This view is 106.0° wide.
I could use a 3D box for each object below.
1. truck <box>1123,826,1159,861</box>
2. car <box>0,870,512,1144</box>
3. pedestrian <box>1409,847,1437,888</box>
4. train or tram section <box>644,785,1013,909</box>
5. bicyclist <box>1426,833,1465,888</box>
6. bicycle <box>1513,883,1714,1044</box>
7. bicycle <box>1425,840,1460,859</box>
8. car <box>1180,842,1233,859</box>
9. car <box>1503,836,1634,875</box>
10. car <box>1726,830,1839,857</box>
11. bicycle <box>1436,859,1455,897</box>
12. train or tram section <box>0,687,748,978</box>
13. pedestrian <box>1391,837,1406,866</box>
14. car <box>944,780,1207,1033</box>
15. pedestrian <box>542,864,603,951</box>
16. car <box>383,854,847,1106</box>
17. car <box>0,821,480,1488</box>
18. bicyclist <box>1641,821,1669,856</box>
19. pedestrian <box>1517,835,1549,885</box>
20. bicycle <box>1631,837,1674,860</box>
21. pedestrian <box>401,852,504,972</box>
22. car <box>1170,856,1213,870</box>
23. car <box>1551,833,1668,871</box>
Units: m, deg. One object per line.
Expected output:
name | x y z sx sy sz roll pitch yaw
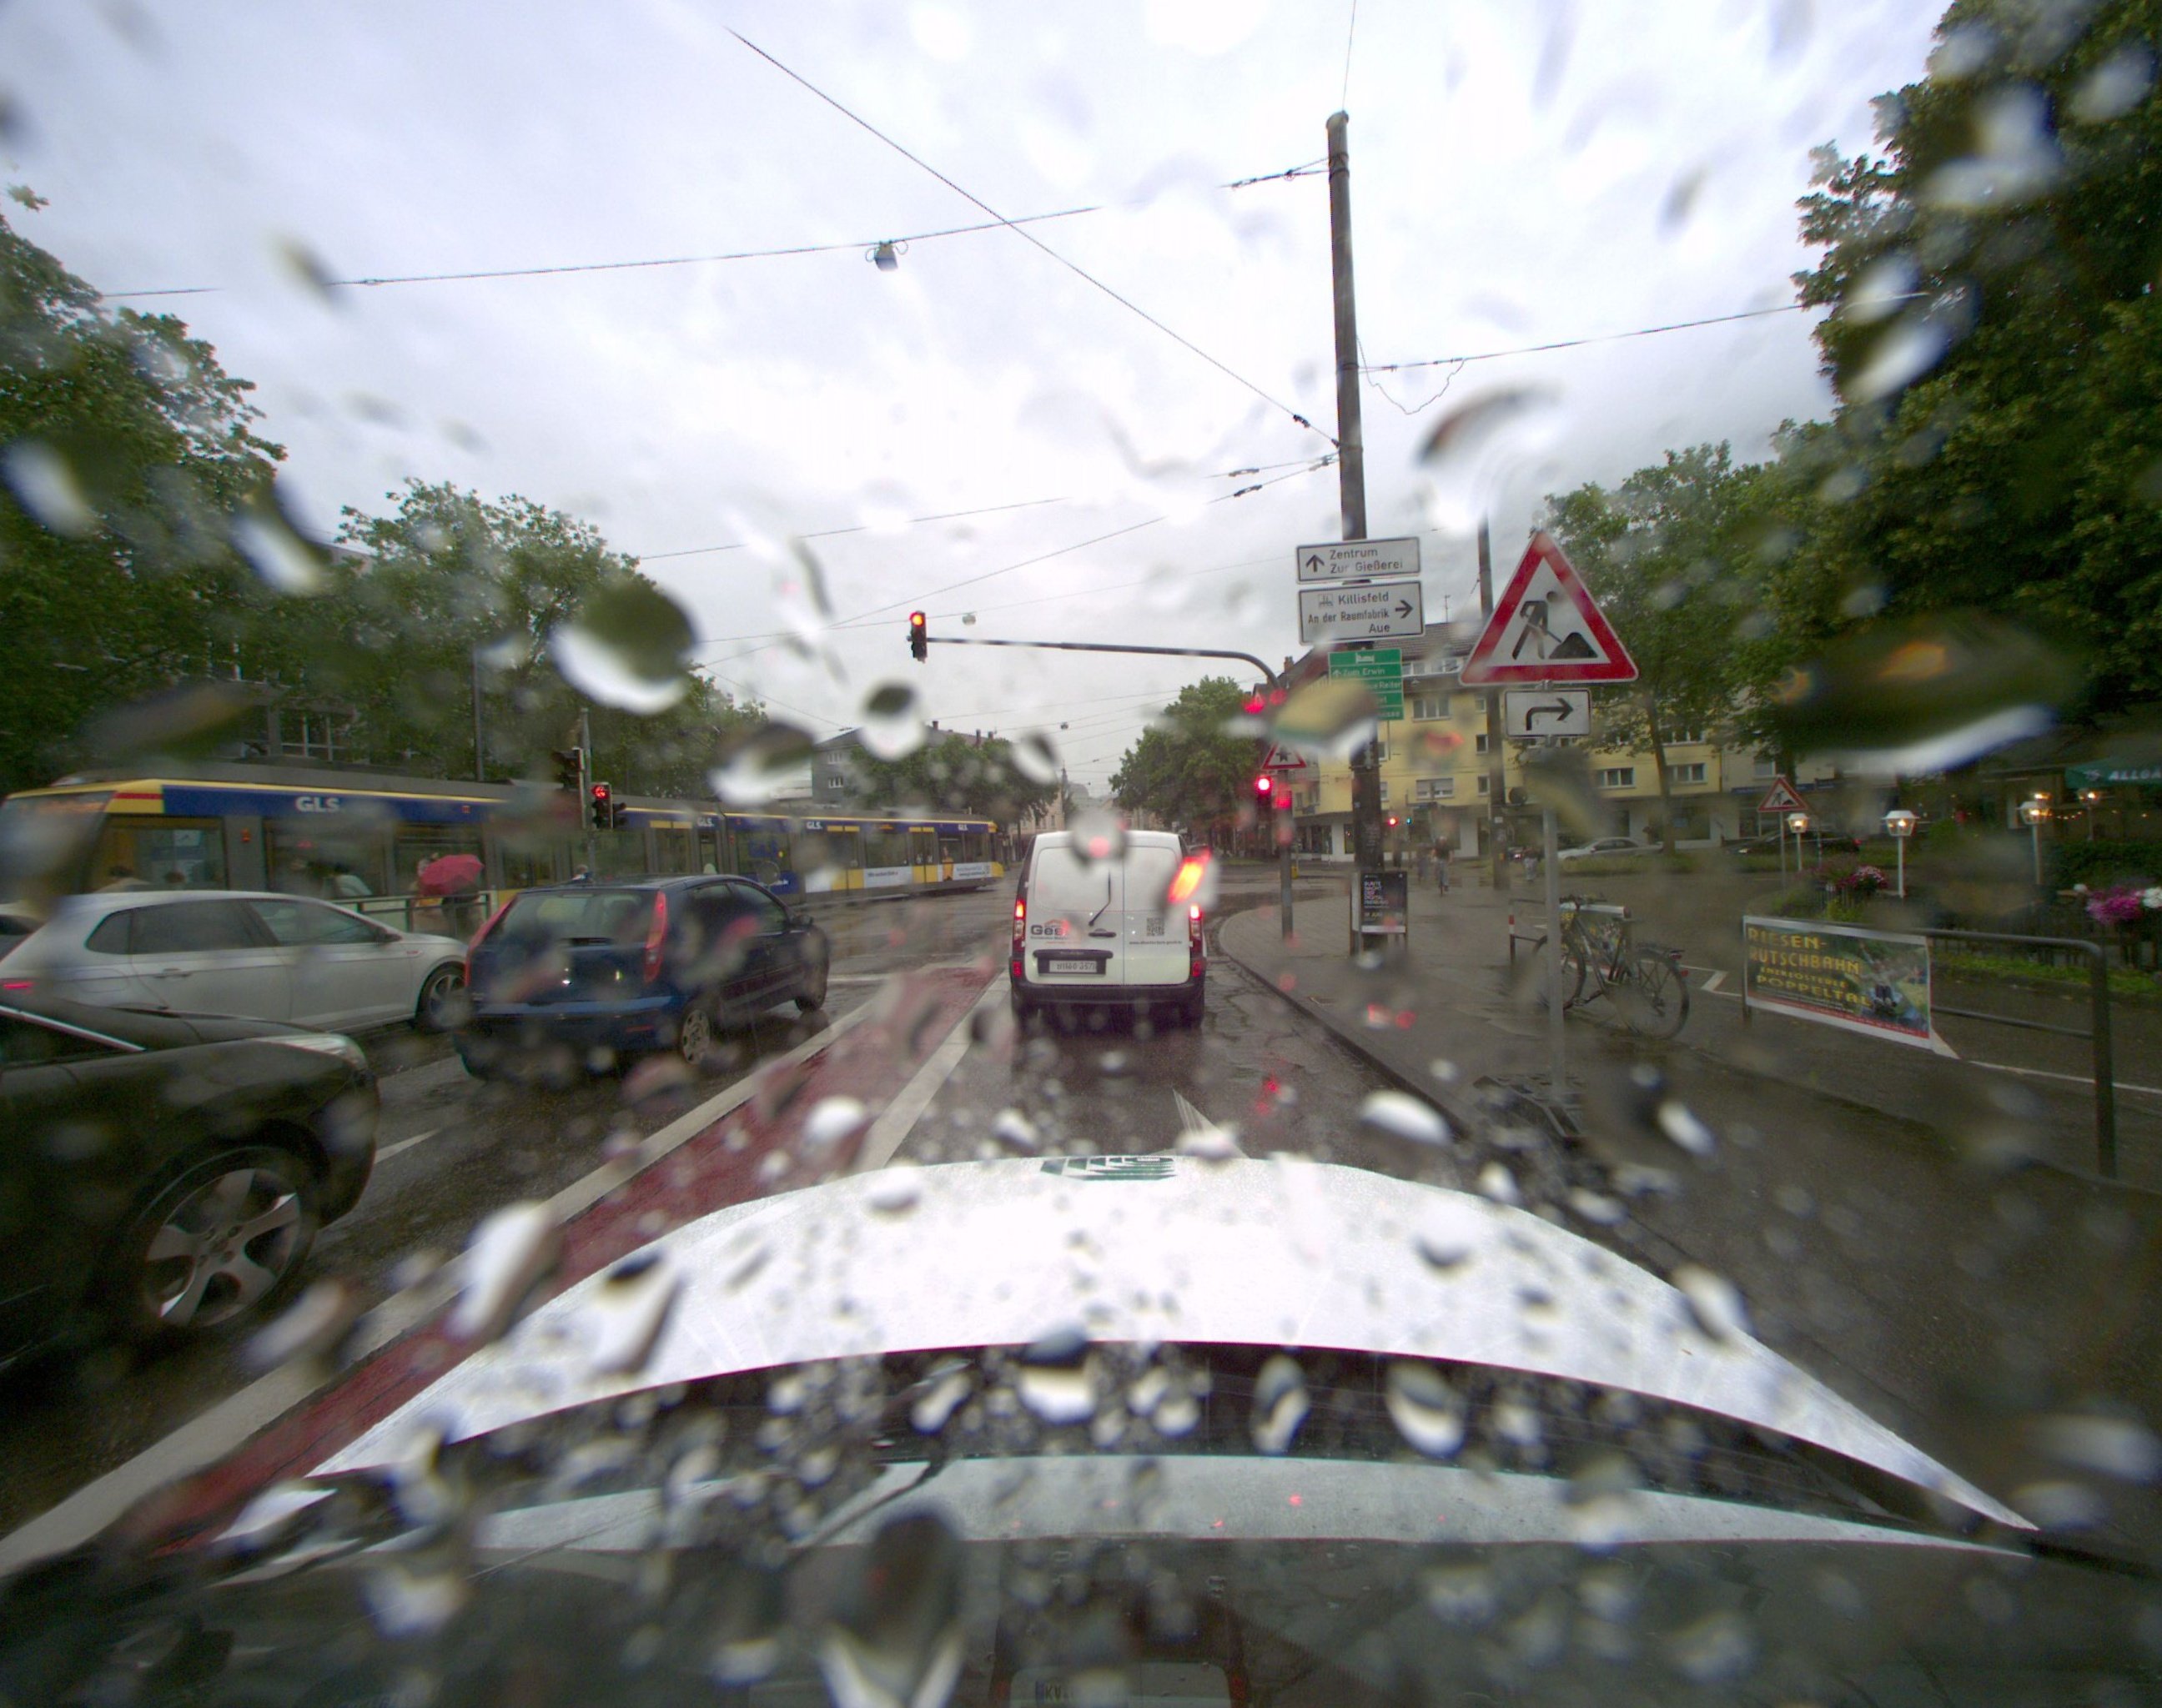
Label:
truck | 9.163 -1.483 126.572 3.462 5.087 15.287 -1 0 -3
car | -6.774 0.925 6.555 1.623 1.494 3.783 -1 0 2
pedestrian | 13.194 0.509 31.419 0.820 1.534 0.616 -1 -1 -37
train or tram section | -7.945 -0.183 30.259 3.508 3.413 15.593 0 0 25
bicyclist | 10.808 0.191 24.173 0.872 1.583 0.863 -1 0 12
bicycle | 4.487 0.848 7.058 0.512 1.107 2.018 1 0 3
bicycle | 24.330 -0.294 54.868 2.085 1.261 0.534 -1 1 16
car | 10.585 -0.315 68.875 4.160 1.339 1.518 -2 1 -6
car | 22.857 0.113 38.383 4.902 1.643 2.007 -1 -3 14
car | 29.279 -0.428 34.044 3.511 1.082 1.248 -1 0 4
bicycle | 10.837 0.708 24.209 0.454 1.027 1.912 -1 1 23
train or tram section | -12.496 -0.250 16.859 3.491 3.512 13.699 0 0 10
pedestrian | 16.821 -0.146 43.169 0.614 1.500 0.556 -1 -1 35
car | 0.030 0.450 9.130 2.092 2.012 4.965 -2 -1 2
pedestrian | -9.593 0.993 15.382 0.621 1.607 0.744 -1 0 9
car | -3.517 0.806 7.083 1.720 1.578 3.822 -1 0 2
car | -3.647 0.766 1.530 1.827 1.668 4.174 -1 0 2
bicyclist | 26.608 -0.699 37.755 0.811 1.615 0.711 -1 0 2
pedestrian | 15.562 0.208 28.064 0.896 1.669 1.026 -1 0 28
bicycle | 26.493 -0.258 37.758 1.631 1.002 0.422 -1 0 2
pedestrian | -9.779 0.875 12.710 0.763 1.746 0.899 -4 1 1
car | 9.488 0.774 70.305 3.437 1.130 1.468 -1 0 -6
car | 22.766 -0.090 35.257 3.906 1.490 1.815 -1 1 17
